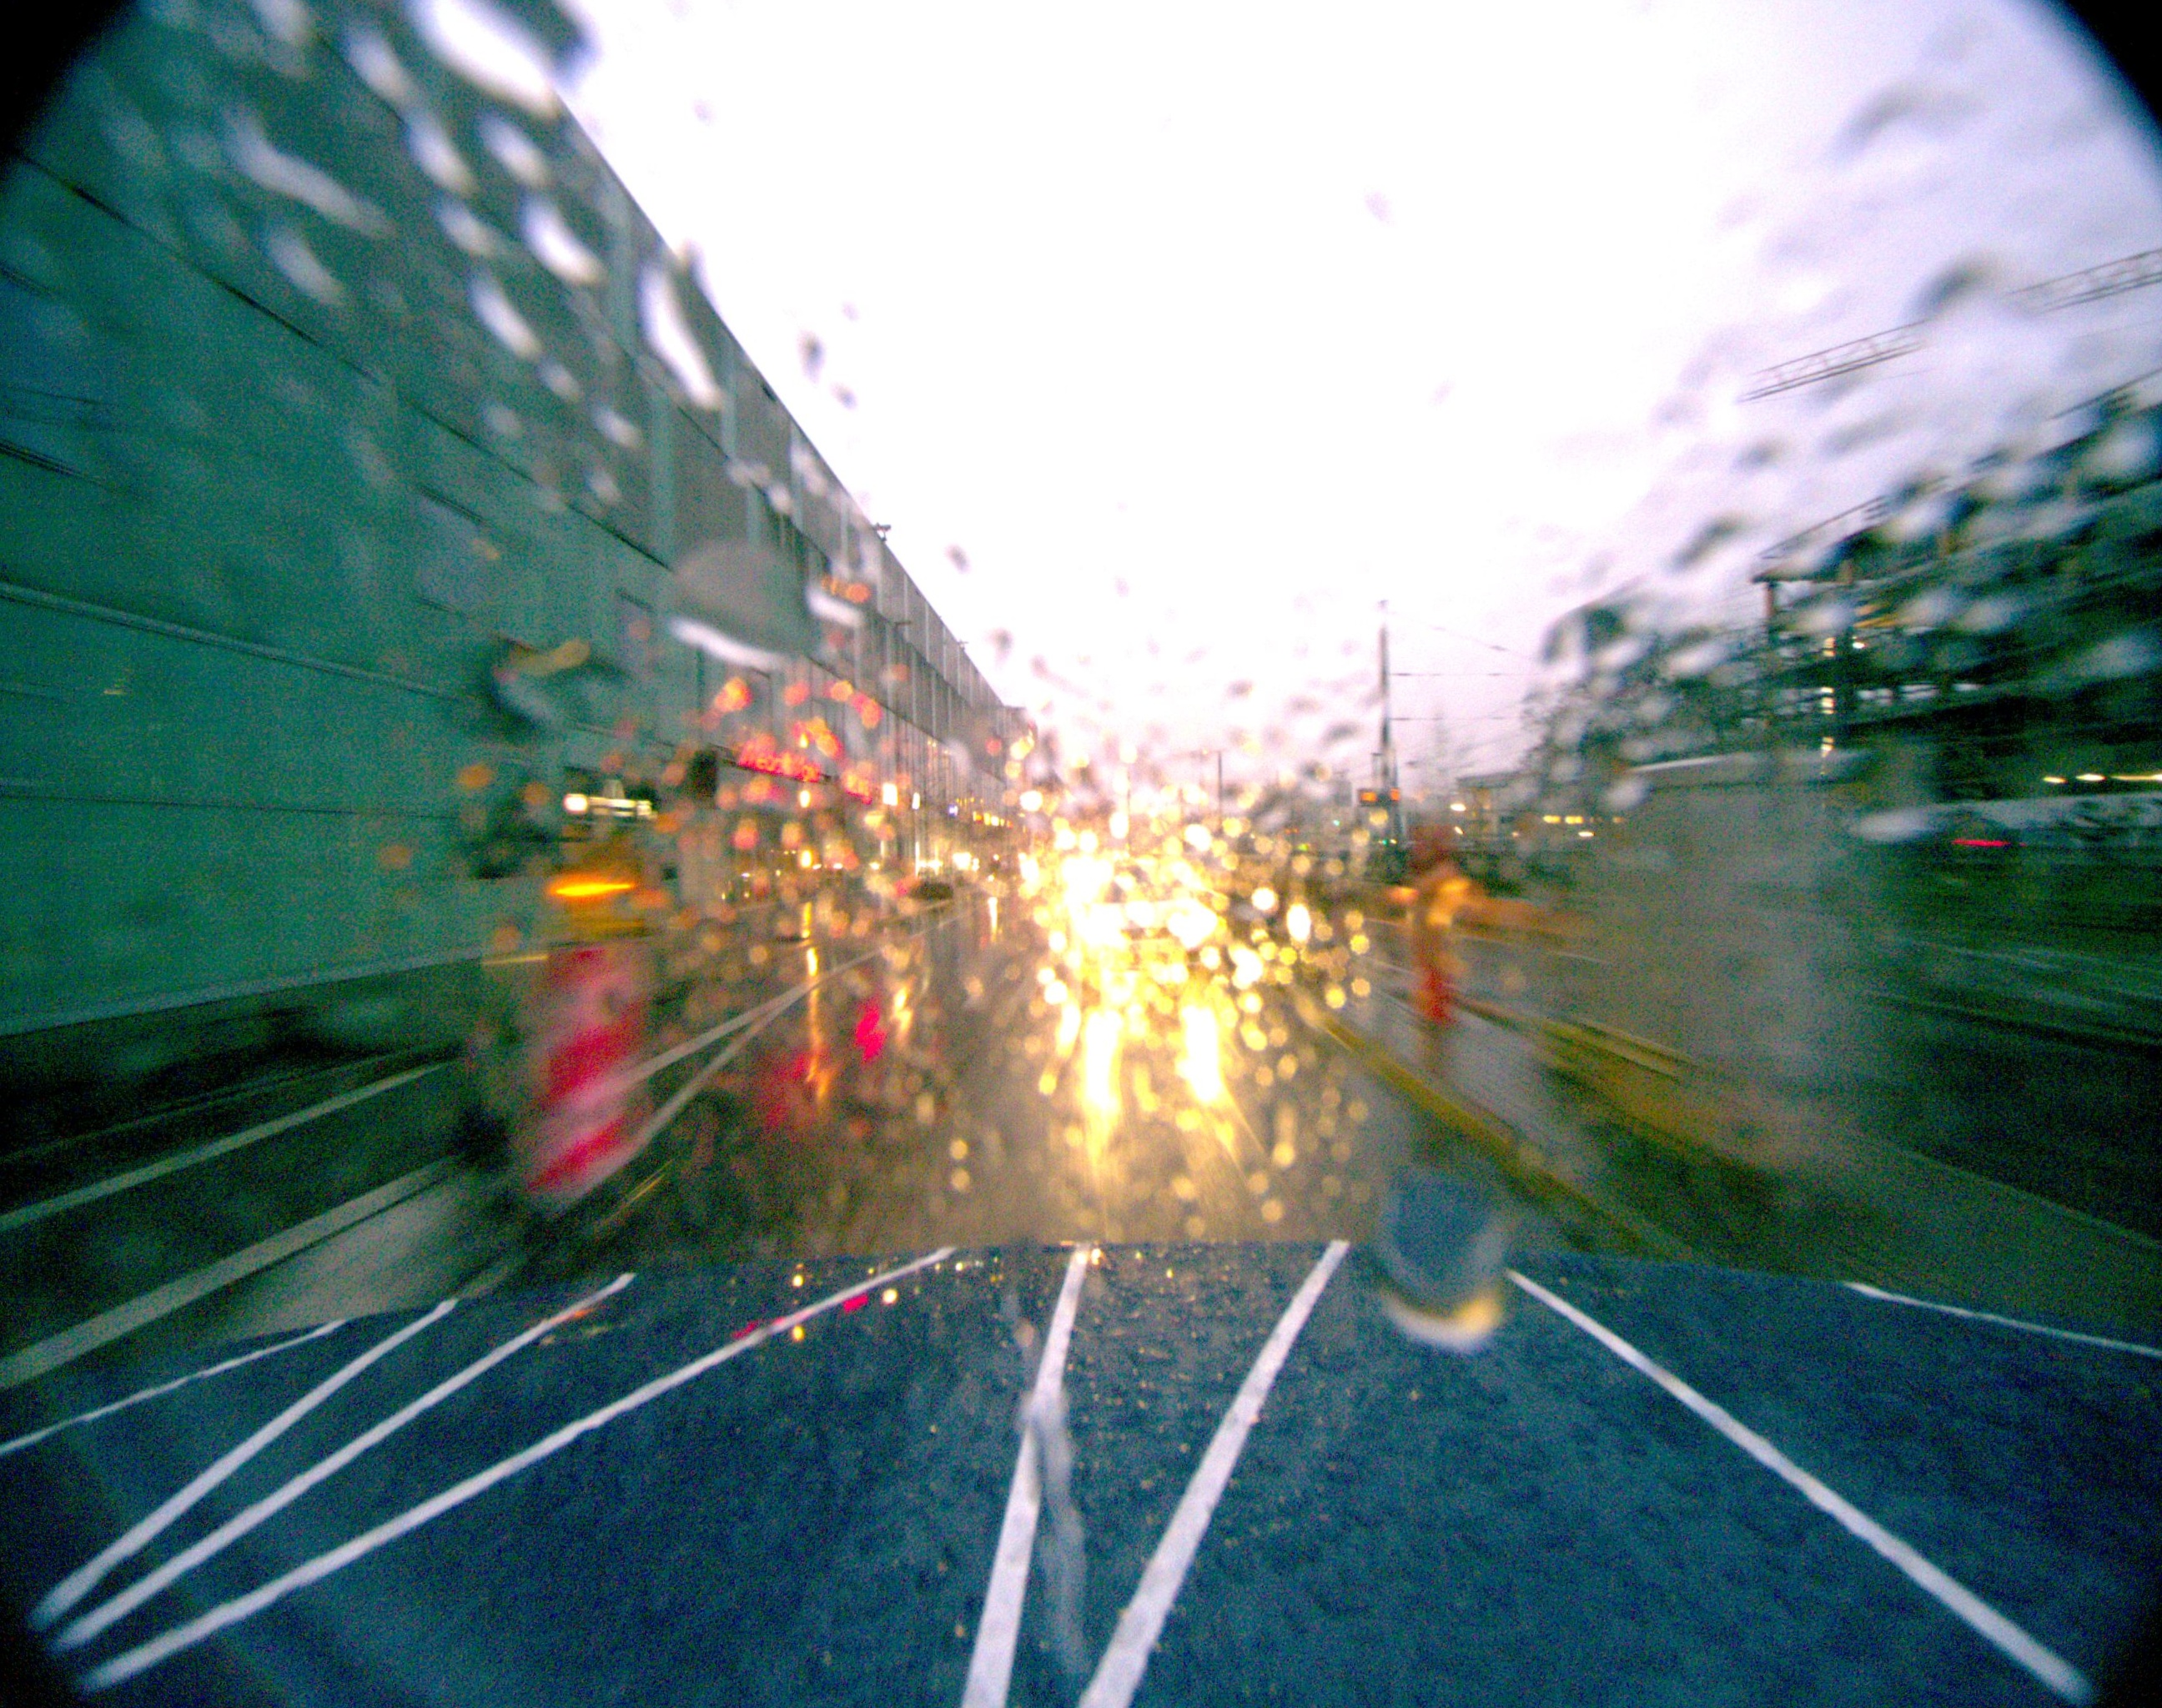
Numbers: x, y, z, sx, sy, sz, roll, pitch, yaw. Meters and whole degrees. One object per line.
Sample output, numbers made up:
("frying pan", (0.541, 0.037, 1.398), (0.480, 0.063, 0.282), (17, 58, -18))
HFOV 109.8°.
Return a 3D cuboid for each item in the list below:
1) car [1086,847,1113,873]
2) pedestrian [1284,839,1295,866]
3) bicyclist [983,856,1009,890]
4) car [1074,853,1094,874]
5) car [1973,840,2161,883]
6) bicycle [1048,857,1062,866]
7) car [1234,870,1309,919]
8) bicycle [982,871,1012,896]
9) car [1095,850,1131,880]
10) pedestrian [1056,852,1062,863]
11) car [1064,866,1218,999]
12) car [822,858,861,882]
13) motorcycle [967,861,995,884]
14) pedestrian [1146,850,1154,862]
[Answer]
("car", (1.415, 0.415, 57.338), (1.864, 1.867, 4.001), (-2, 0, 3))
("pedestrian", (13.390, -0.103, 48.889), (0.585, 1.692, 0.741), (-2, 1, 13))
("bicyclist", (-3.800, 0.855, 34.166), (0.945, 1.454, 1.066), (-2, 1, 4))
("car", (0.348, 0.987, 81.018), (1.998, 2.002, 4.000), (-2, 0, 2))
("car", (36.027, 0.271, 27.837), (1.686, 1.406, 4.341), (-2, 0, 3))
("bicycle", (-3.395, 0.985, 99.433), (1.908, 1.168, 0.667), (0, 1, 2))
("car", (6.551, 1.354, 26.533), (1.809, 1.444, 4.005), (-1, 0, 3))
("bicycle", (-3.768, 1.318, 34.172), (0.945, 0.993, 2.241), (-2, 0, 4))
("car", (1.987, 0.644, 46.231), (1.998, 1.673, 4.001), (-2, 0, 4))
("pedestrian", (-3.352, 0.503, 115.264), (0.707, 1.685, 0.723), (0, 0, -9))
("car", (0.867, 0.988, 11.269), (1.813, 1.464, 4.140), (-2, 0, 4))
("car", (-18.664, 1.192, 59.320), (1.675, 1.721, 4.000), (-2, 0, 1))
("motorcycle", (-6.119, 1.121, 46.423), (1.904, 1.326, 0.597), (0, 2, 42))
("pedestrian", (10.476, 0.308, 115.057), (0.862, 1.704, 0.763), (-2, 1, -24))
